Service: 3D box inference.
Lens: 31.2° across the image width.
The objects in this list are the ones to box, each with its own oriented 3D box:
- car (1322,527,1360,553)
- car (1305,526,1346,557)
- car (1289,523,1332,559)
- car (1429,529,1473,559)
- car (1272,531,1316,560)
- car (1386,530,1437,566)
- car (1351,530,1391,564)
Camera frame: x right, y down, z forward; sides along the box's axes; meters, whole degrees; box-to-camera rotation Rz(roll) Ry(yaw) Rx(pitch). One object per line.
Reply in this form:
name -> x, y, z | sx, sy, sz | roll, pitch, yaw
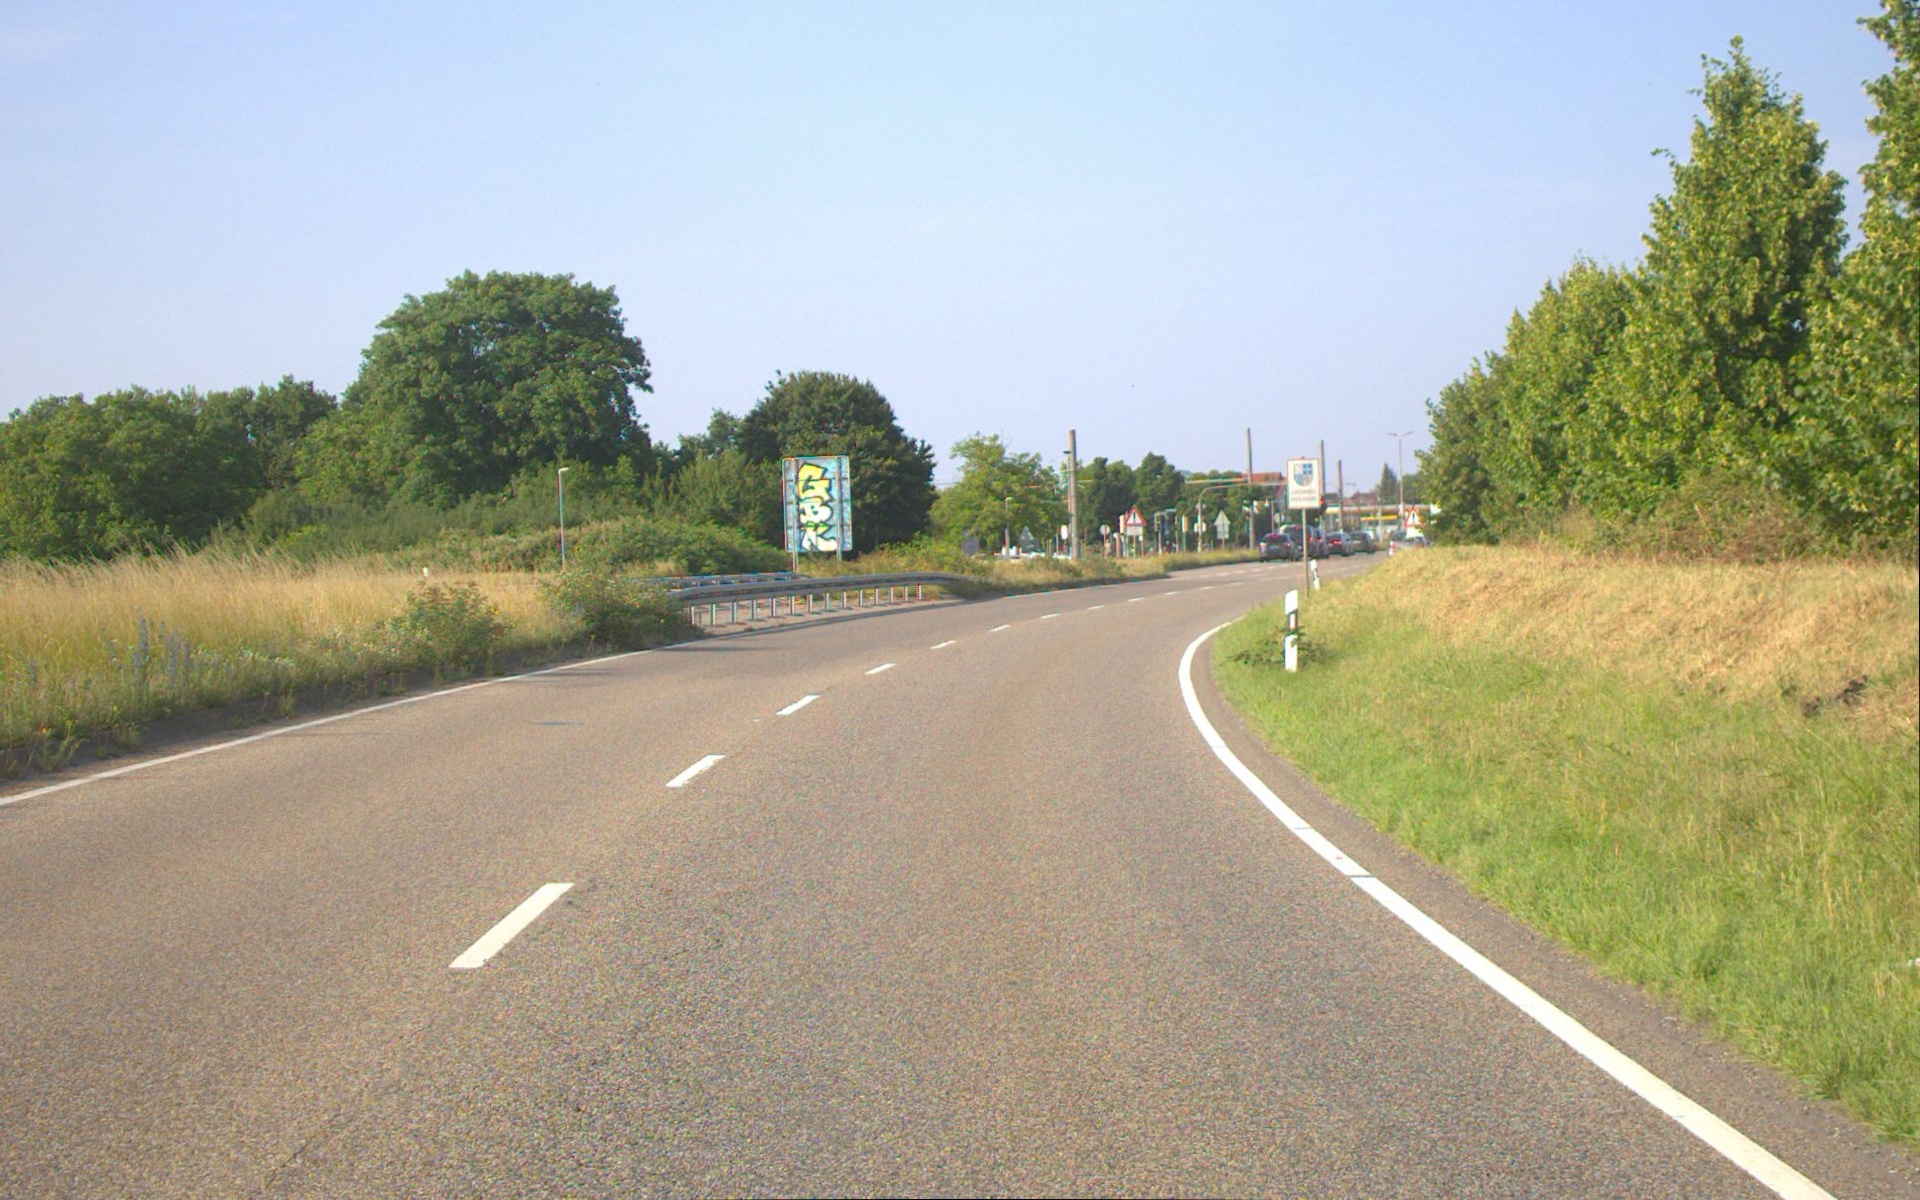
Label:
car -> 22.396, -3.547, 202.143 | 1.771, 1.466, 4.013 | -1, 1, 12
car -> 20.522, -3.308, 192.678 | 1.771, 1.673, 4.518 | -1, 1, 12
car -> 18.898, -3.185, 185.158 | 1.733, 1.849, 4.518 | -1, 1, 12
car -> 26.005, -2.978, 181.888 | 1.994, 1.546, 3.998 | -1, 1, 12
car -> 17.324, -2.848, 178.292 | 1.733, 1.451, 4.518 | -1, 1, 12
car -> 20.793, -2.405, 158.249 | 1.994, 1.546, 3.998 | -1, 1, 12
car -> 26.273, -3.350, 219.578 | 1.995, 2.007, 4.833 | -1, -1, 13
